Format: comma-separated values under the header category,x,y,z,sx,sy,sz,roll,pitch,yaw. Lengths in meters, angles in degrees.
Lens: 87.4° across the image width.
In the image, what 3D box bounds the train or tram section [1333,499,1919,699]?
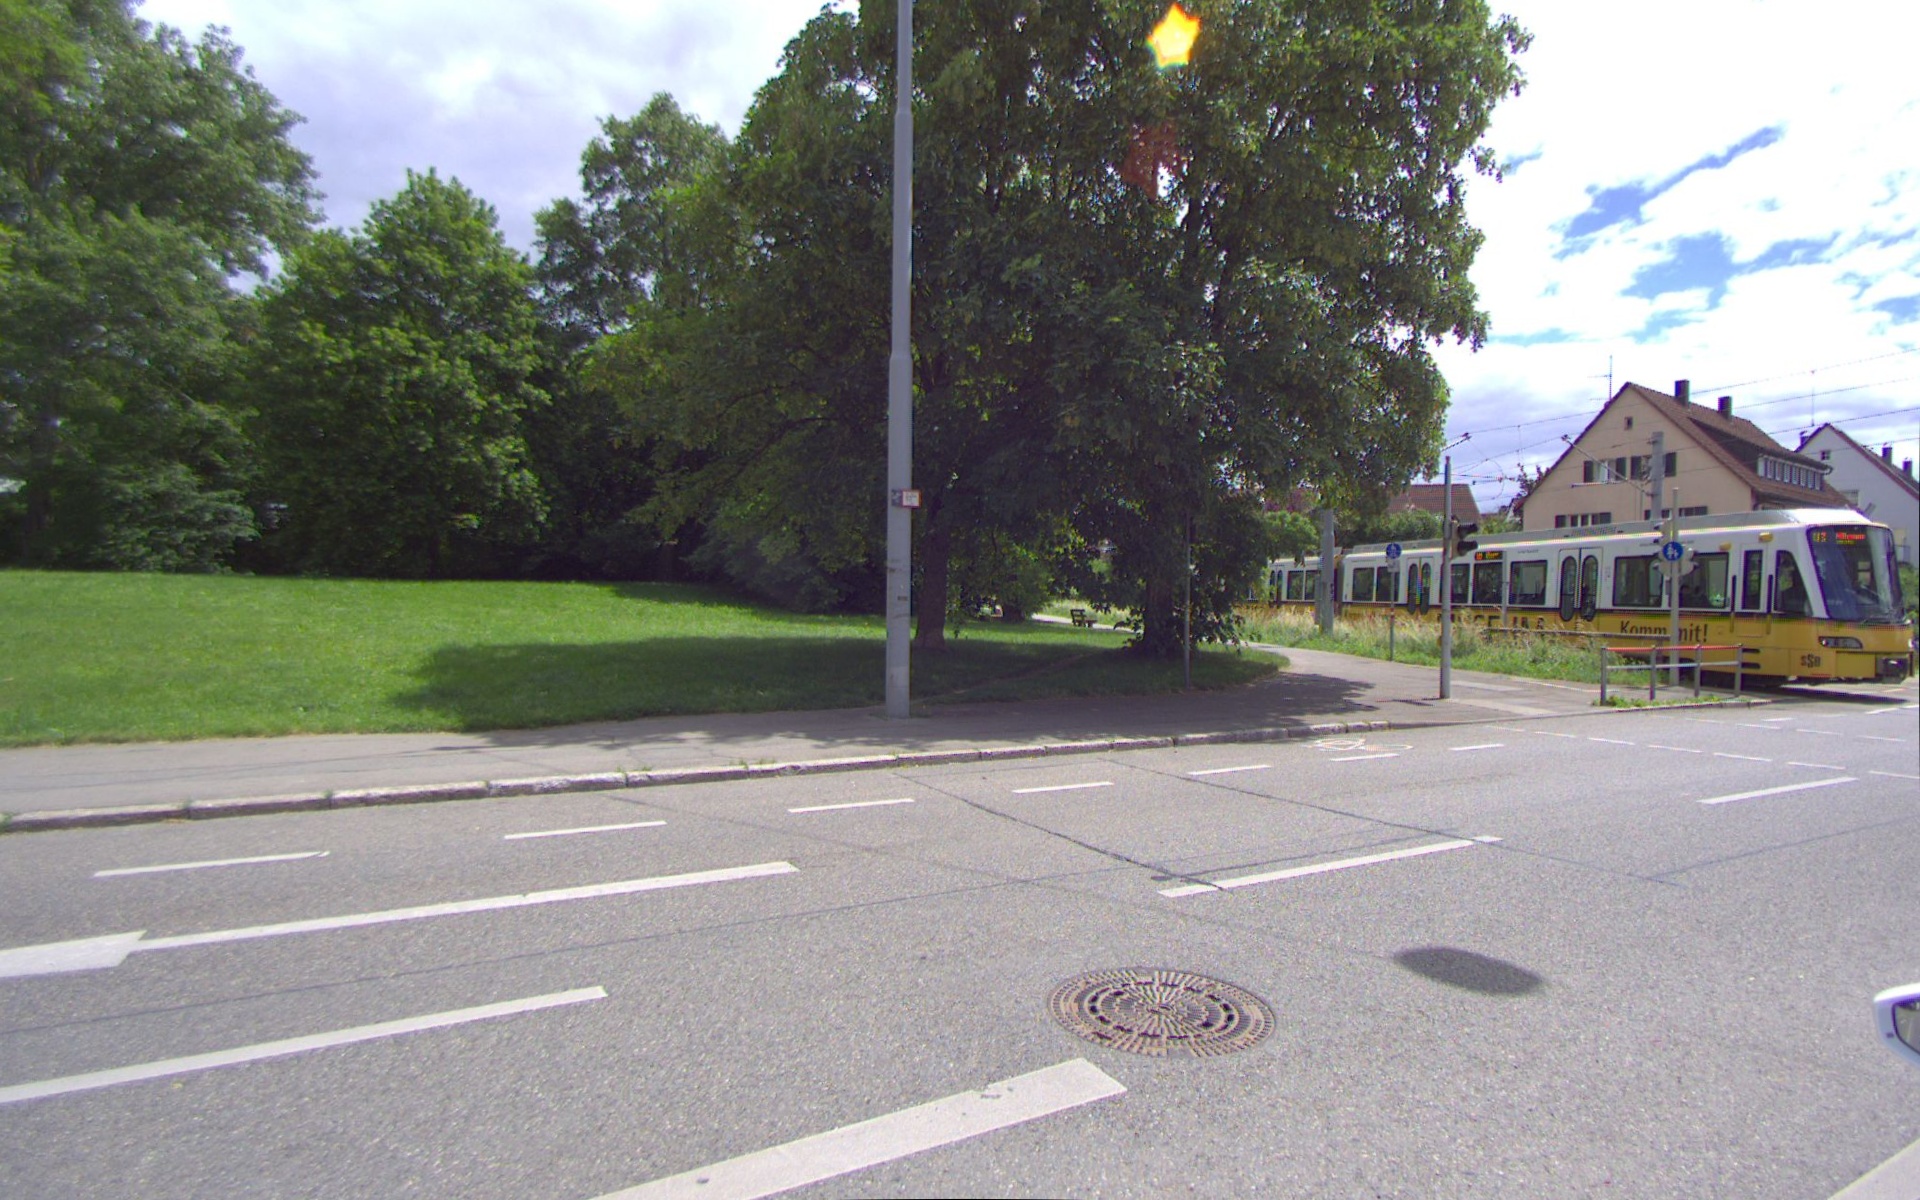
category,x,y,z,sx,sy,sz,roll,pitch,yaw
train or tram section,16.543,-0.112,28.500,2.864,3.754,19.098,1,1,-6

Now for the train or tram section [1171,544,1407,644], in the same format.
category,x,y,z,sx,sy,sz,roll,pitch,yaw
train or tram section,14.443,-0.324,47.448,2.864,3.754,19.098,1,1,-6
